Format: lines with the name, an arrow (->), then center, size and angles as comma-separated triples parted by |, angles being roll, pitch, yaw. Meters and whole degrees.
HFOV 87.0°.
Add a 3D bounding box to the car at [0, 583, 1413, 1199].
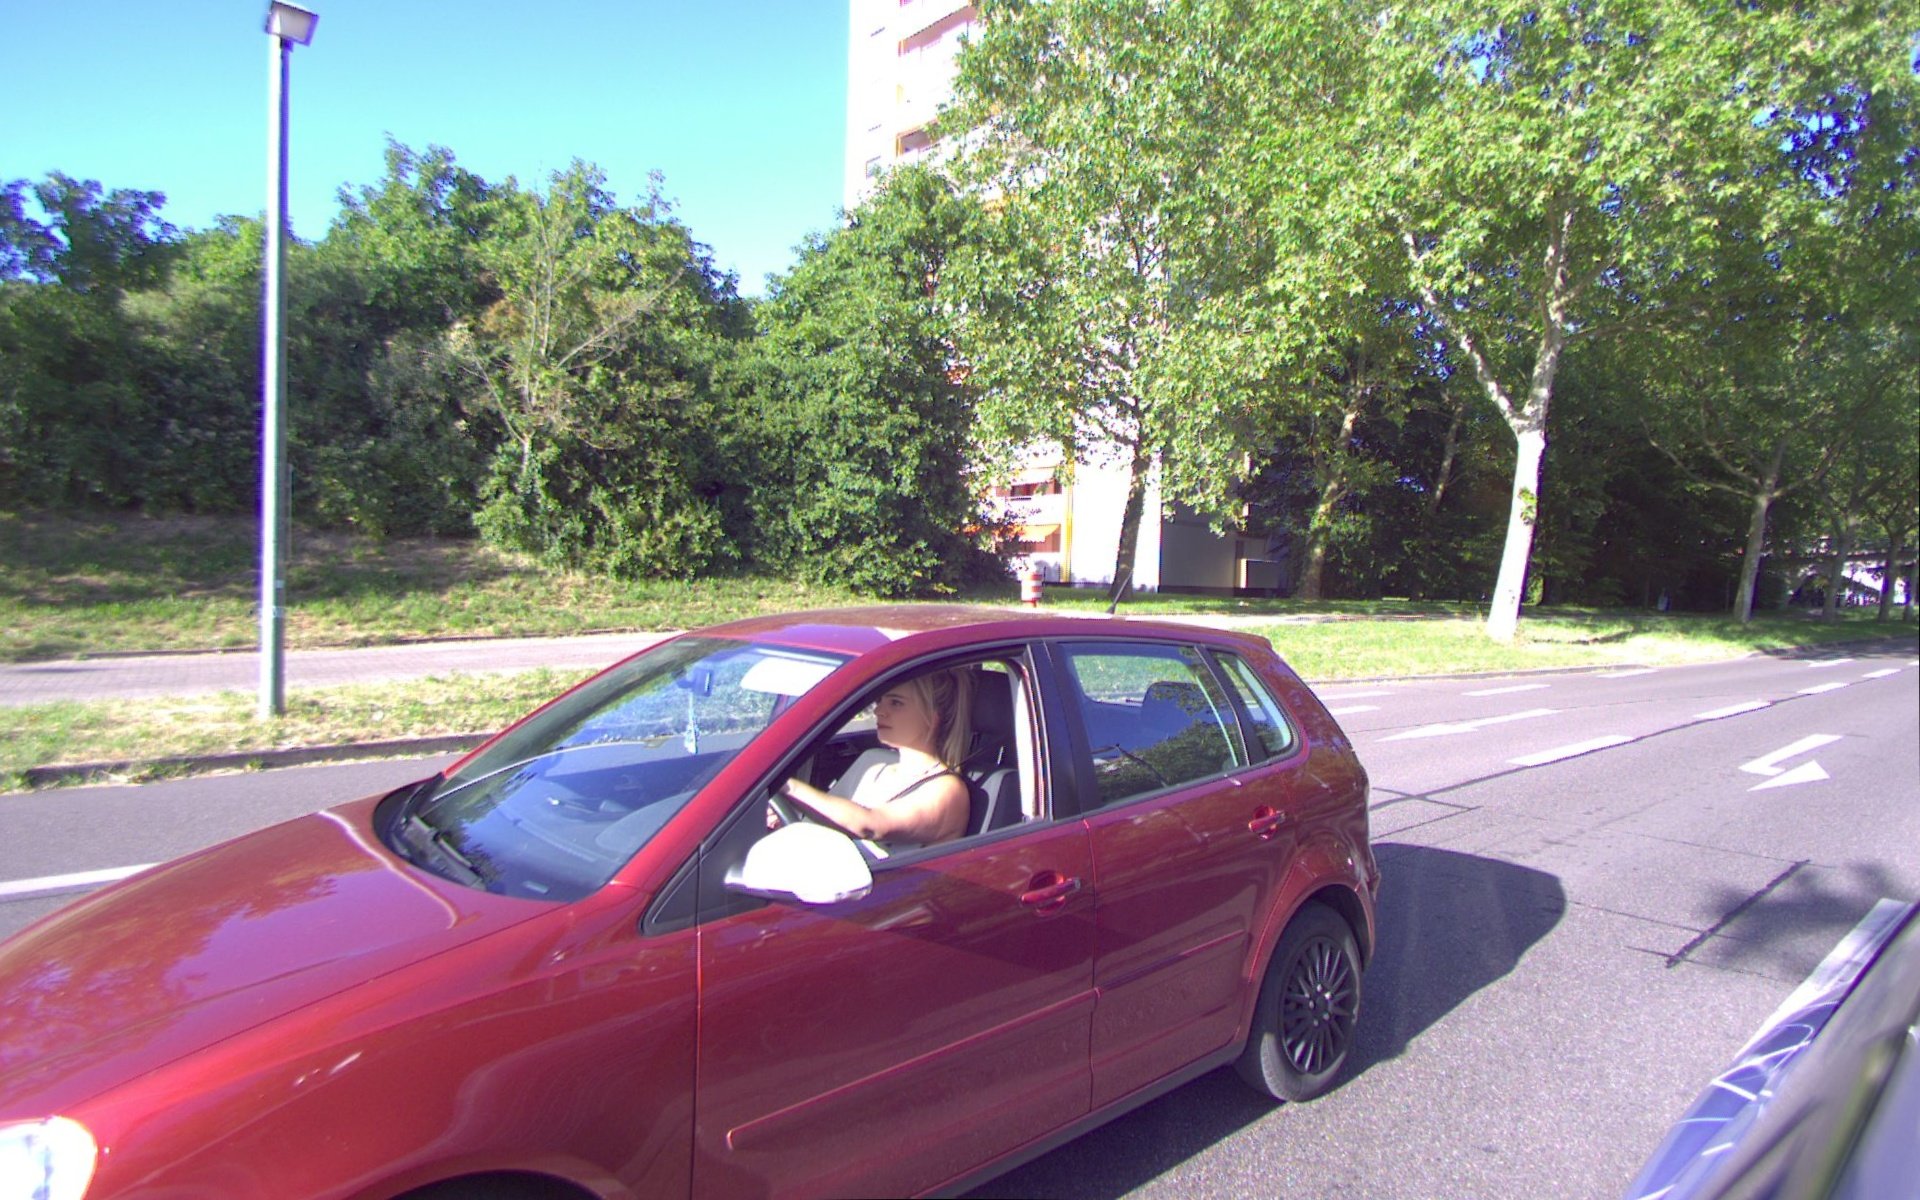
car -> -0.462, 0.692, 2.762 | 3.627, 1.434, 1.626 | 0, 1, -39
